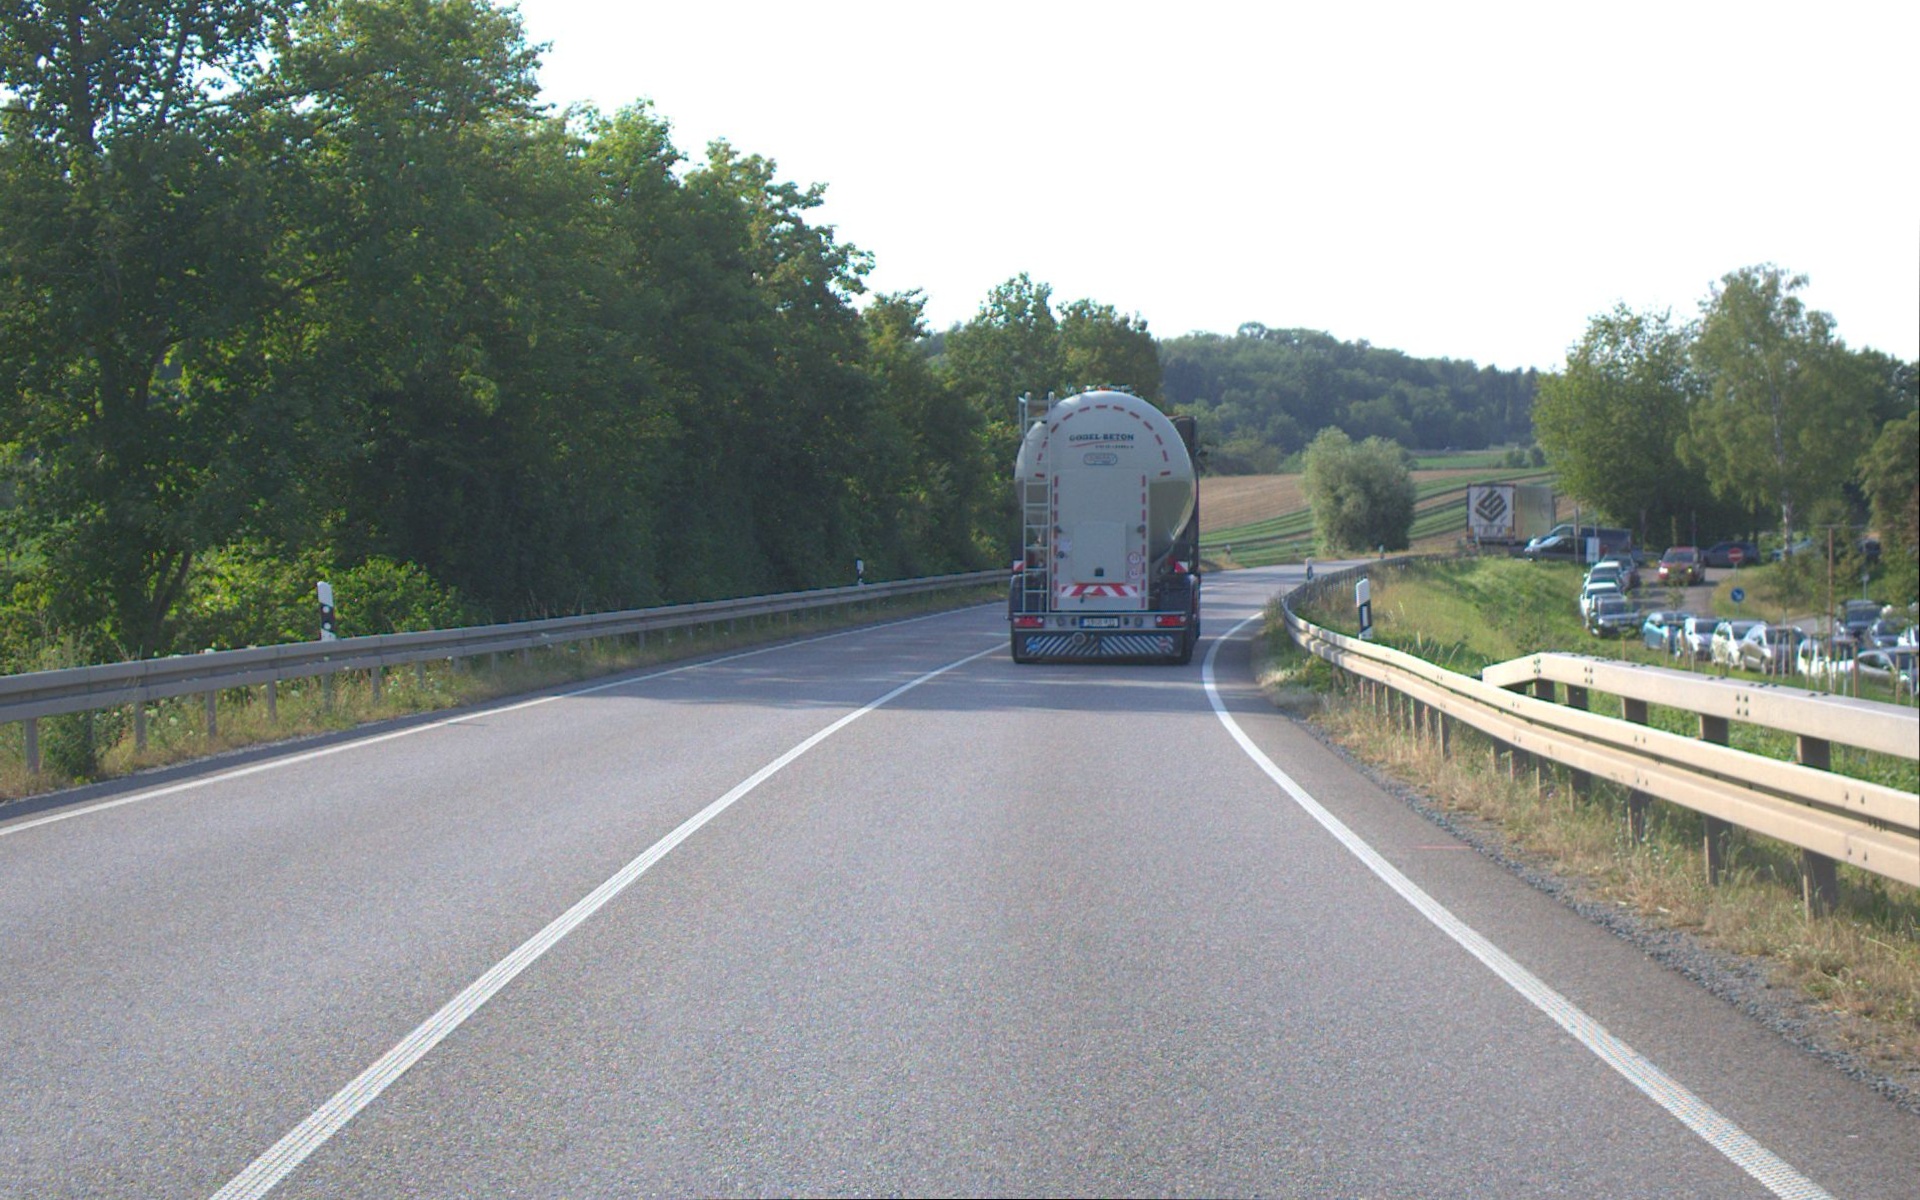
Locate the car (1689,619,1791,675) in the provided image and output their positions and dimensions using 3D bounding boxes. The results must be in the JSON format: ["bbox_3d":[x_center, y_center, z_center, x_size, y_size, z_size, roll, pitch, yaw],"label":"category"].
[{"bbox_3d":[26.219,1.579,115.775,1.891,1.554,4.784,-2,2,-6],"label":"car"}]

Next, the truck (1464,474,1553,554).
[{"bbox_3d":[30.601,-4.869,191.439,3.186,4.213,13.163,-1,2,16],"label":"truck"}]

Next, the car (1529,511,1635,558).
[{"bbox_3d":[32.266,-3.424,178.423,5.143,1.937,1.974,5,3,14],"label":"car"}]

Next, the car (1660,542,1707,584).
[{"bbox_3d":[34.705,-1.805,165.086,1.892,1.681,5.085,-3,3,9],"label":"car"}]

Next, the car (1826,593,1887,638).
[{"bbox_3d":[33.650,0.560,129.001,1.702,1.394,4.780,-3,1,20],"label":"car"}]

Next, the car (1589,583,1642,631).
[{"bbox_3d":[26.409,0.249,138.605,1.892,1.554,4.781,-3,3,9],"label":"car"}]

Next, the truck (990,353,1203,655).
[{"bbox_3d":[2.265,-1.466,53.697,2.893,4.128,13.171,0,1,3],"label":"truck"}]

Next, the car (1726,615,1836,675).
[{"bbox_3d":[26.253,1.423,110.050,1.891,1.554,4.784,-4,3,-6],"label":"car"}]
